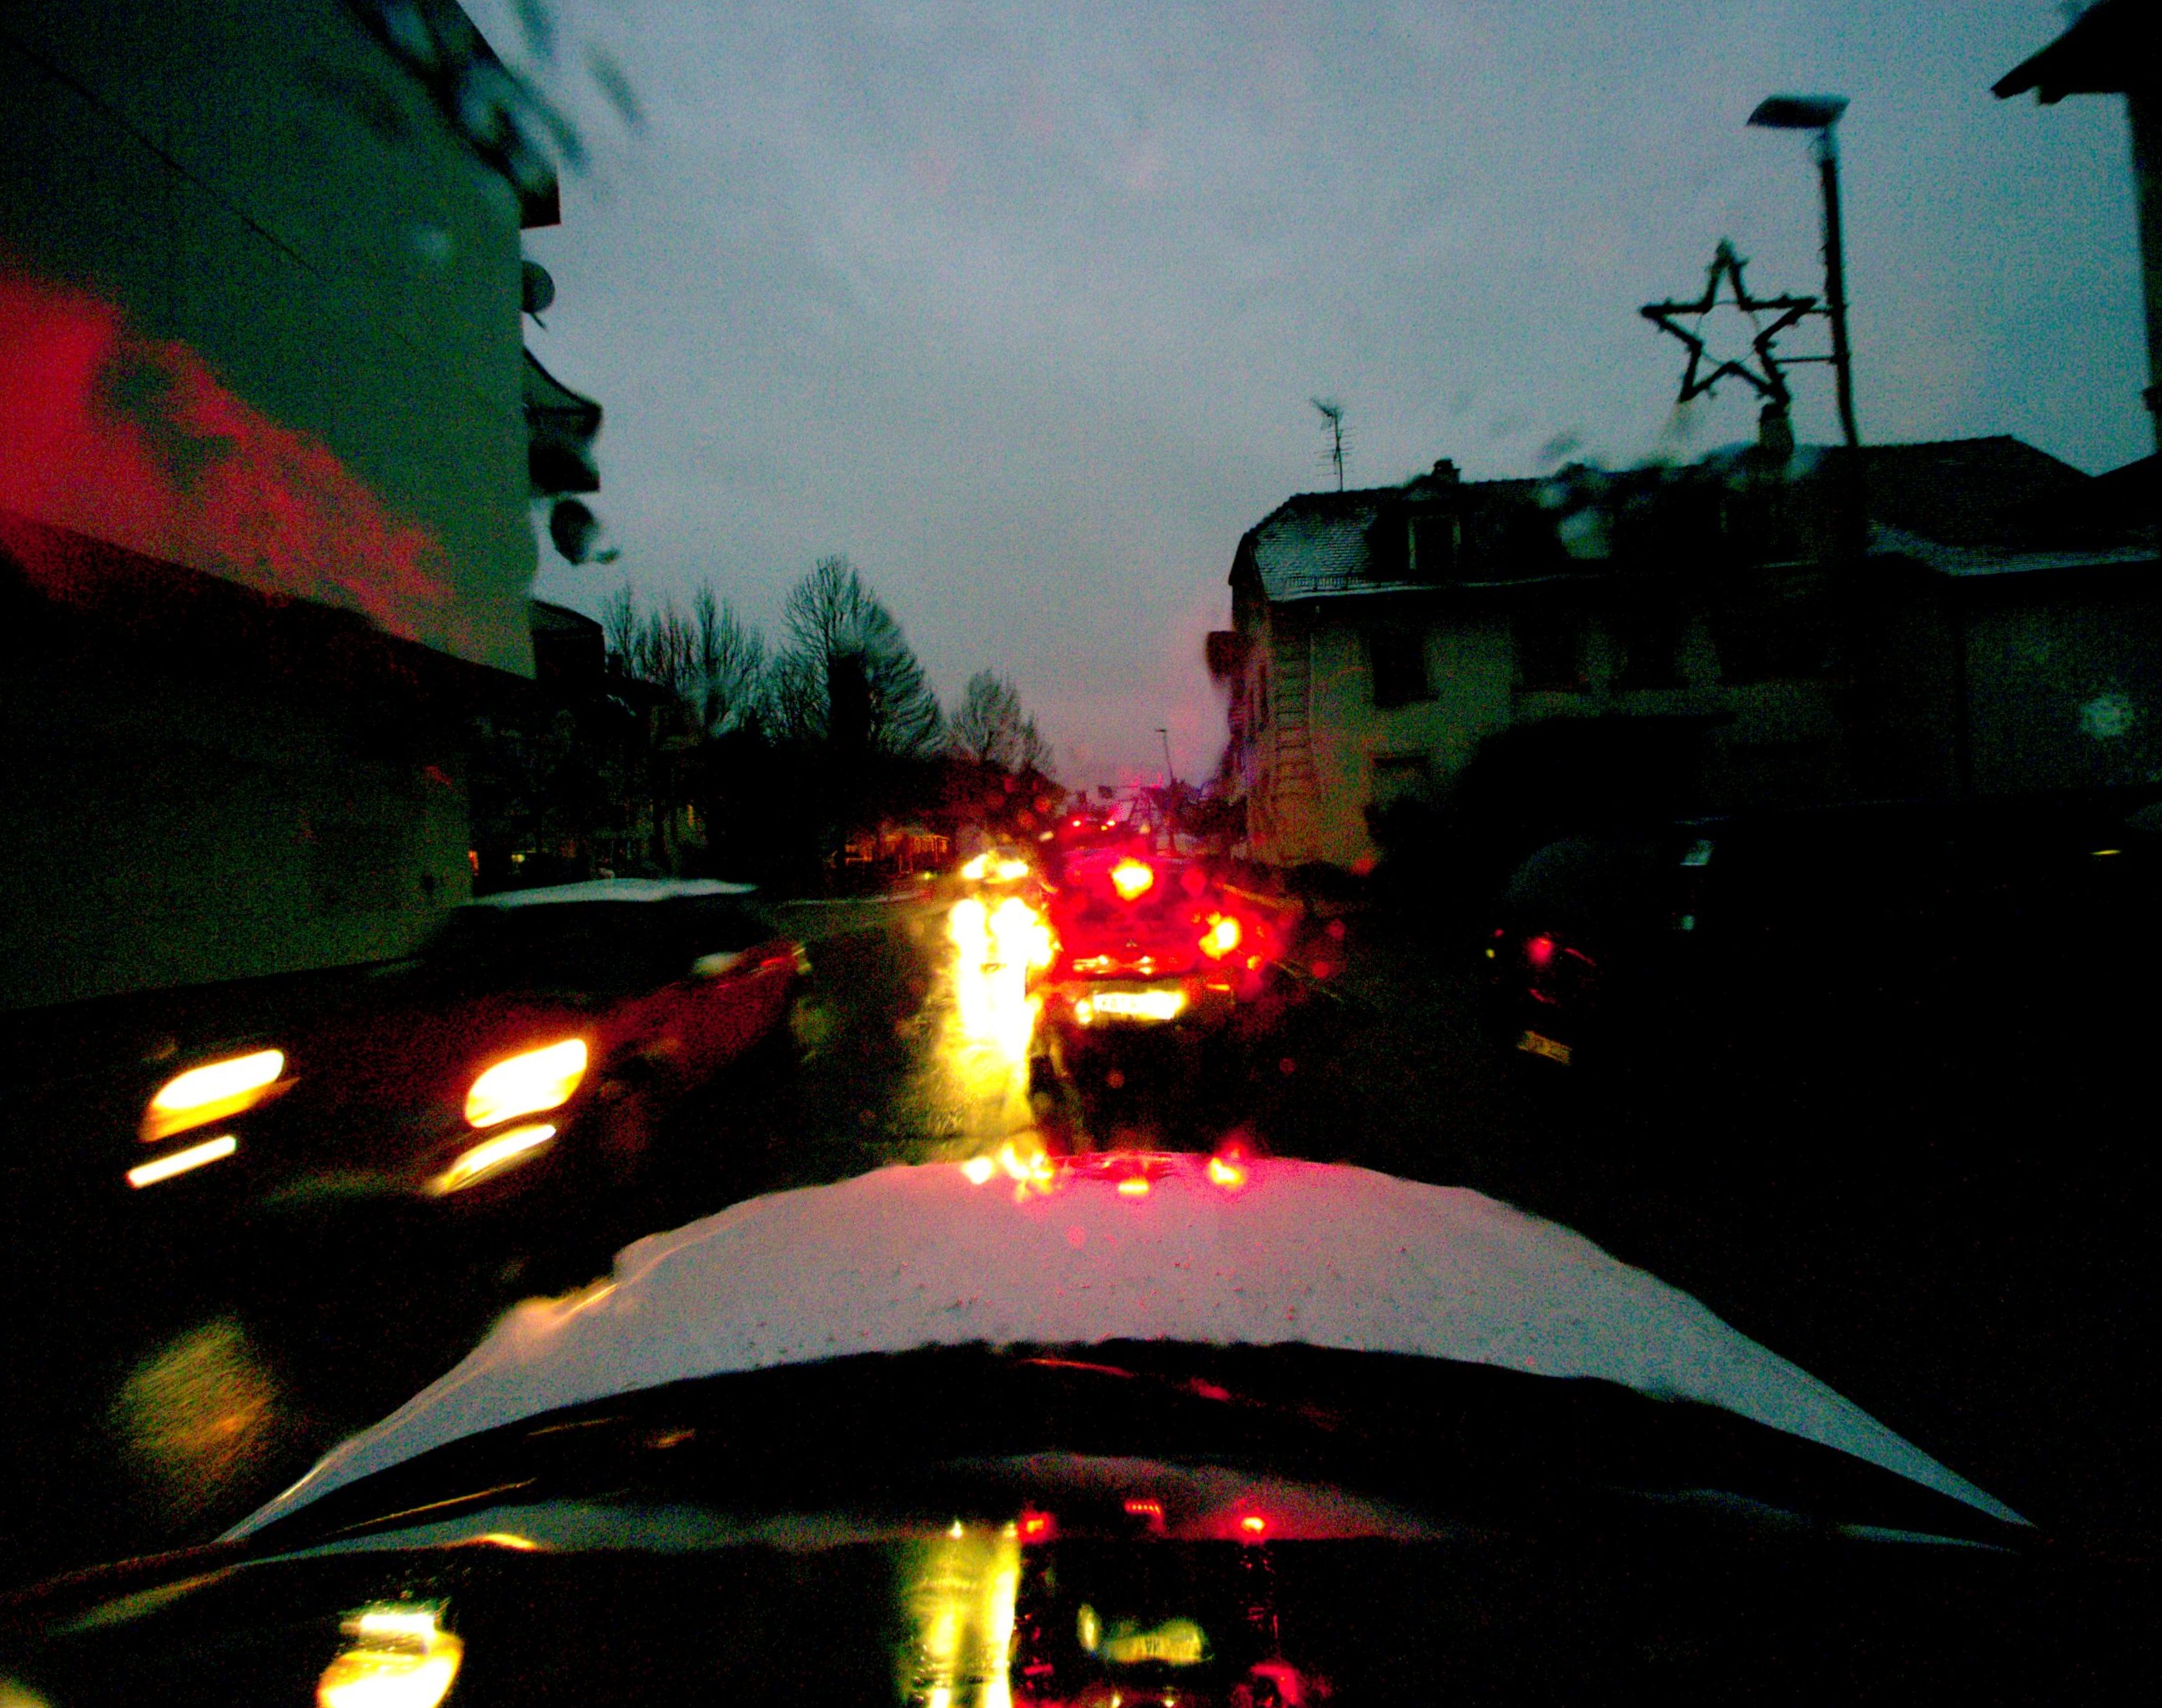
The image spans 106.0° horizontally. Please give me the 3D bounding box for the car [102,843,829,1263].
[{"bbox_3d":[-2.851,0.737,4.790,1.633,1.535,3.406,-2,0,0],"label":"car"}]

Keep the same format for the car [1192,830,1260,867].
[{"bbox_3d":[9.029,-0.347,50.863,4.073,2.151,1.918,-2,0,8],"label":"car"}]

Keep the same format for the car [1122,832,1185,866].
[{"bbox_3d":[4.942,-0.319,55.299,4.073,2.151,1.918,-2,0,8],"label":"car"}]

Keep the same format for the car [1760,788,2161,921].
[{"bbox_3d":[12.360,0.002,11.417,3.971,1.524,1.938,-3,0,2],"label":"car"}]

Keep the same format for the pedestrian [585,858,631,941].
[{"bbox_3d":[-8.737,0.819,15.024,0.653,1.458,0.643,-2,1,-35],"label":"pedestrian"}]

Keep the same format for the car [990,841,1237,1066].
[{"bbox_3d":[0.275,0.663,7.184,1.632,1.481,3.380,-1,0,2],"label":"car"}]

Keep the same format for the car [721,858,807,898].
[{"bbox_3d":[-16.693,1.268,42.869,3.953,1.910,1.829,-2,1,21],"label":"car"}]

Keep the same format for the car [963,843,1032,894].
[{"bbox_3d":[-2.817,0.437,28.531,1.804,1.596,4.401,-2,1,1],"label":"car"}]

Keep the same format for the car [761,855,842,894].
[{"bbox_3d":[-15.665,1.156,45.721,3.953,1.998,1.829,-2,1,21],"label":"car"}]

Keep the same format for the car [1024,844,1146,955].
[{"bbox_3d":[0.056,0.596,12.790,1.633,1.481,3.271,-1,1,0],"label":"car"}]

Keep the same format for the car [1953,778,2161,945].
[{"bbox_3d":[12.148,-0.028,8.447,3.973,1.570,2.001,-3,0,1],"label":"car"}]

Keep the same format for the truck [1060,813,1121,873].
[{"bbox_3d":[0.406,-0.616,47.217,3.008,3.128,7.993,-2,0,-2],"label":"truck"}]

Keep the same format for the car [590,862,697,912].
[{"bbox_3d":[-18.722,1.398,34.852,3.953,1.988,1.829,-2,1,21],"label":"car"}]

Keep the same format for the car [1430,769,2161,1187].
[{"bbox_3d":[4.136,0.453,4.266,3.862,1.579,1.680,-3,0,-4],"label":"car"}]

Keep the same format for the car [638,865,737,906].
[{"bbox_3d":[-18.172,1.473,37.638,3.953,1.730,1.829,-2,1,21],"label":"car"}]

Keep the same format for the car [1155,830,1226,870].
[{"bbox_3d":[6.556,-0.241,48.634,4.073,2.162,1.918,-2,0,8],"label":"car"}]
